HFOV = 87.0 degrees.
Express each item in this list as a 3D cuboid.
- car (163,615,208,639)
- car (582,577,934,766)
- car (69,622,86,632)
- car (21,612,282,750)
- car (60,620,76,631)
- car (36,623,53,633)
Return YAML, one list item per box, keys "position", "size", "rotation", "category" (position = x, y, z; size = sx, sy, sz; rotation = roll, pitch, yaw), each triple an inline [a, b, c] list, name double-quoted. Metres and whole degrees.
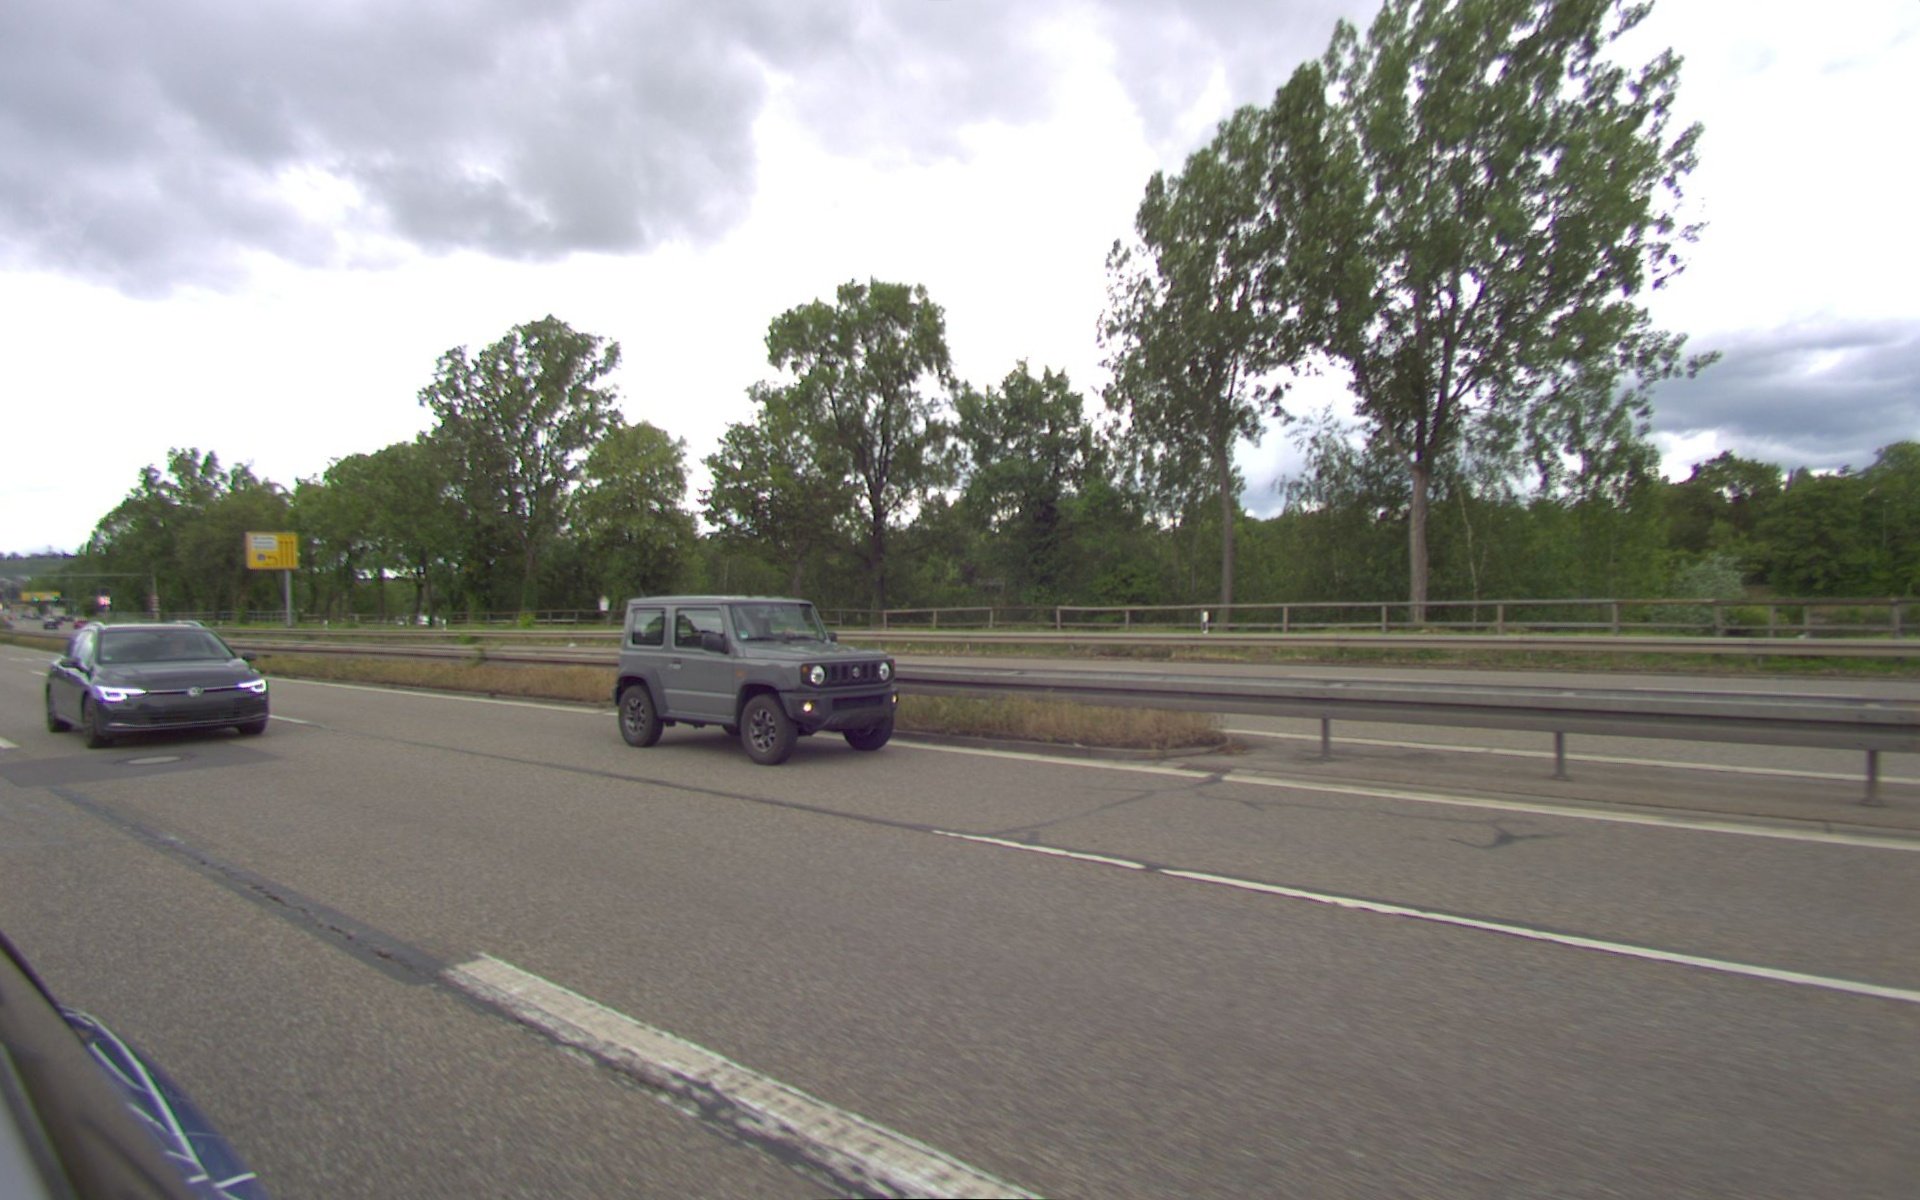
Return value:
- position: [-48.618, 1.682, 63.494]
  size: [3.731, 1.396, 1.597]
  rotation: [-2, 0, 42]
  category: "car"
- position: [-2.325, 0.702, 11.085]
  size: [3.997, 1.699, 1.680]
  rotation: [-2, -2, 40]
  category: "car"
- position: [-139.223, 4.293, 159.676]
  size: [4.381, 1.476, 1.698]
  rotation: [-1, -1, 44]
  category: "car"
- position: [-10.766, 0.947, 13.328]
  size: [4.898, 1.434, 1.826]
  rotation: [-2, 0, 41]
  category: "car"
- position: [-149.998, 4.289, 170.138]
  size: [4.563, 1.898, 1.593]
  rotation: [-1, -1, 44]
  category: "car"
- position: [-139.390, 4.319, 154.143]
  size: [3.912, 1.435, 1.642]
  rotation: [-1, -1, 44]
  category: "car"
